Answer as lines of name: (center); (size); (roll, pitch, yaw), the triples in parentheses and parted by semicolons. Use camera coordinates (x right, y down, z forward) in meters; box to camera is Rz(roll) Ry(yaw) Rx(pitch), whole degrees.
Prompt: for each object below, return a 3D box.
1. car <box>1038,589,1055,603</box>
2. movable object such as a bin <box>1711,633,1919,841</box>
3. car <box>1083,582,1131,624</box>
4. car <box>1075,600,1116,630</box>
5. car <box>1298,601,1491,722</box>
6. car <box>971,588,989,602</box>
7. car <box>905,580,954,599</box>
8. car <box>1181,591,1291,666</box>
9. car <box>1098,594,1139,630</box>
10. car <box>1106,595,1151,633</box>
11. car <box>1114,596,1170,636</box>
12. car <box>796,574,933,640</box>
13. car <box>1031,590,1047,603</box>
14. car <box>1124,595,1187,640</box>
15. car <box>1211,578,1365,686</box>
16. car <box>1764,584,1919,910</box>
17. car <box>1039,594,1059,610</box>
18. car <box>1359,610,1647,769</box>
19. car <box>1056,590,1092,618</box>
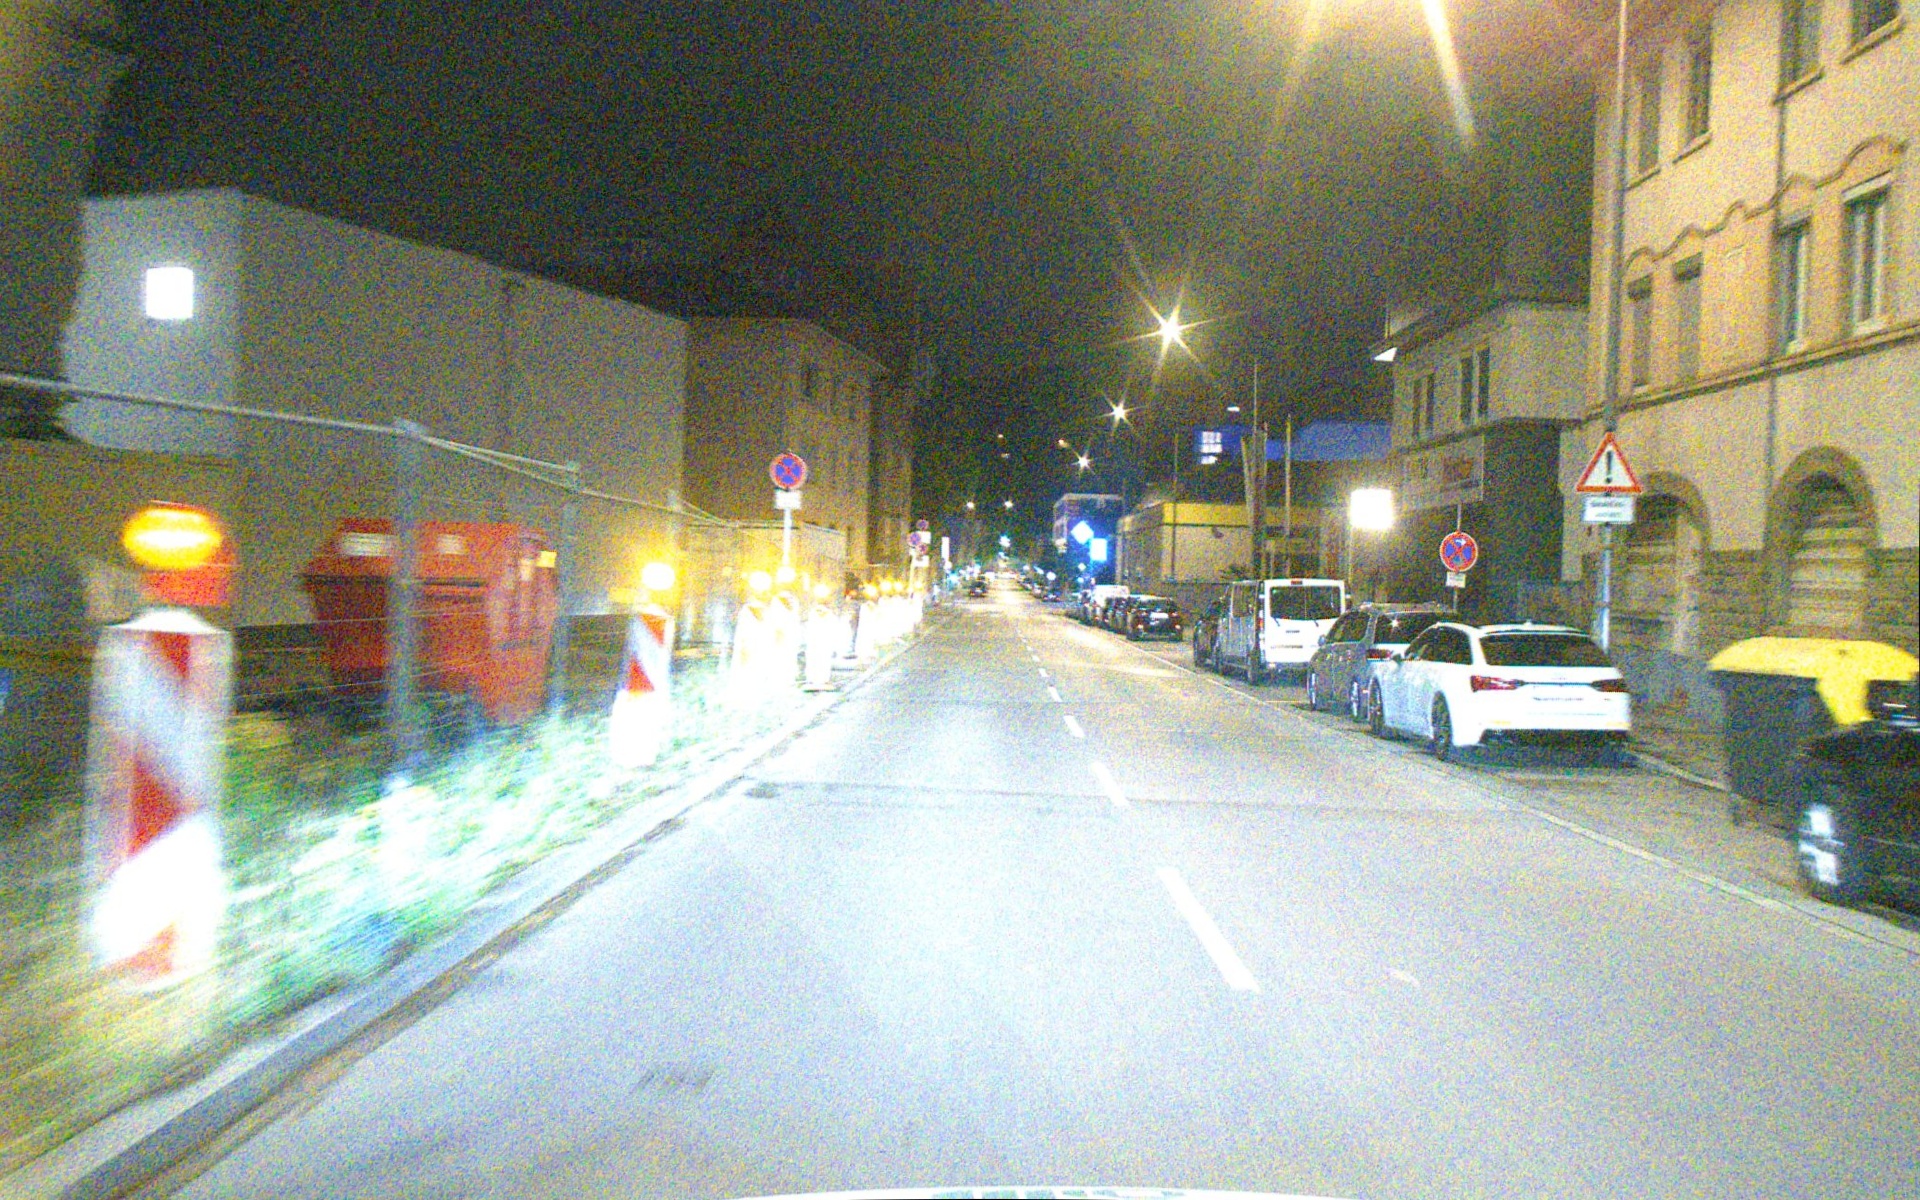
car: (10.316, -0.501, 198.226); (1.952, 1.546, 4.001); (2, 0, 3)
movable object such as a bin: (6.469, 0.996, 12.536); (0.918, 1.457, 1.338); (0, 0, -2)
car: (7.041, 0.121, 79.559); (1.764, 1.908, 4.772); (0, 1, -1)
car: (6.915, 0.765, 84.648); (1.779, 1.452, 4.189); (0, 1, 0)
car: (6.166, 0.818, 23.924); (1.708, 1.593, 4.210); (0, 0, 0)
car: (2.363, -0.619, 192.958); (1.952, 1.528, 4.001); (2, 0, 1)
car: (-2.724, -0.948, 150.296); (4.348, 1.475, 2.000); (2, 0, 1)
car: (6.391, 0.638, 38.712); (1.782, 1.627, 4.219); (-1, 0, -1)
car: (7.050, 0.534, 73.852); (1.562, 1.492, 3.892); (2, 0, 2)
car: (7.006, 0.579, 69.158); (1.562, 1.492, 3.719); (2, 0, 2)
car: (7.040, 0.616, 64.194); (1.742, 1.451, 3.892); (2, 0, 0)
car: (-3.032, 0.226, 52.739); (3.902, 1.922, 1.910); (2, 0, 14)
car: (9.808, -0.437, 205.533); (1.952, 1.546, 4.001); (2, 0, 3)
car: (6.738, 0.586, 57.376); (1.742, 1.451, 4.482); (2, 0, 2)
car: (6.339, 0.580, 32.595); (2.029, 1.962, 5.371); (0, 0, 1)
car: (5.891, 0.774, 8.266); (1.708, 1.712, 4.258); (0, 0, 0)
car: (9.388, 0.189, 174.606); (1.952, 1.542, 4.002); (3, 1, 3)
car: (5.943, 0.897, 18.734); (1.708, 1.535, 4.834); (0, 0, 0)
car: (6.922, 0.224, 100.423); (1.739, 1.571, 4.545); (2, 0, -1)
